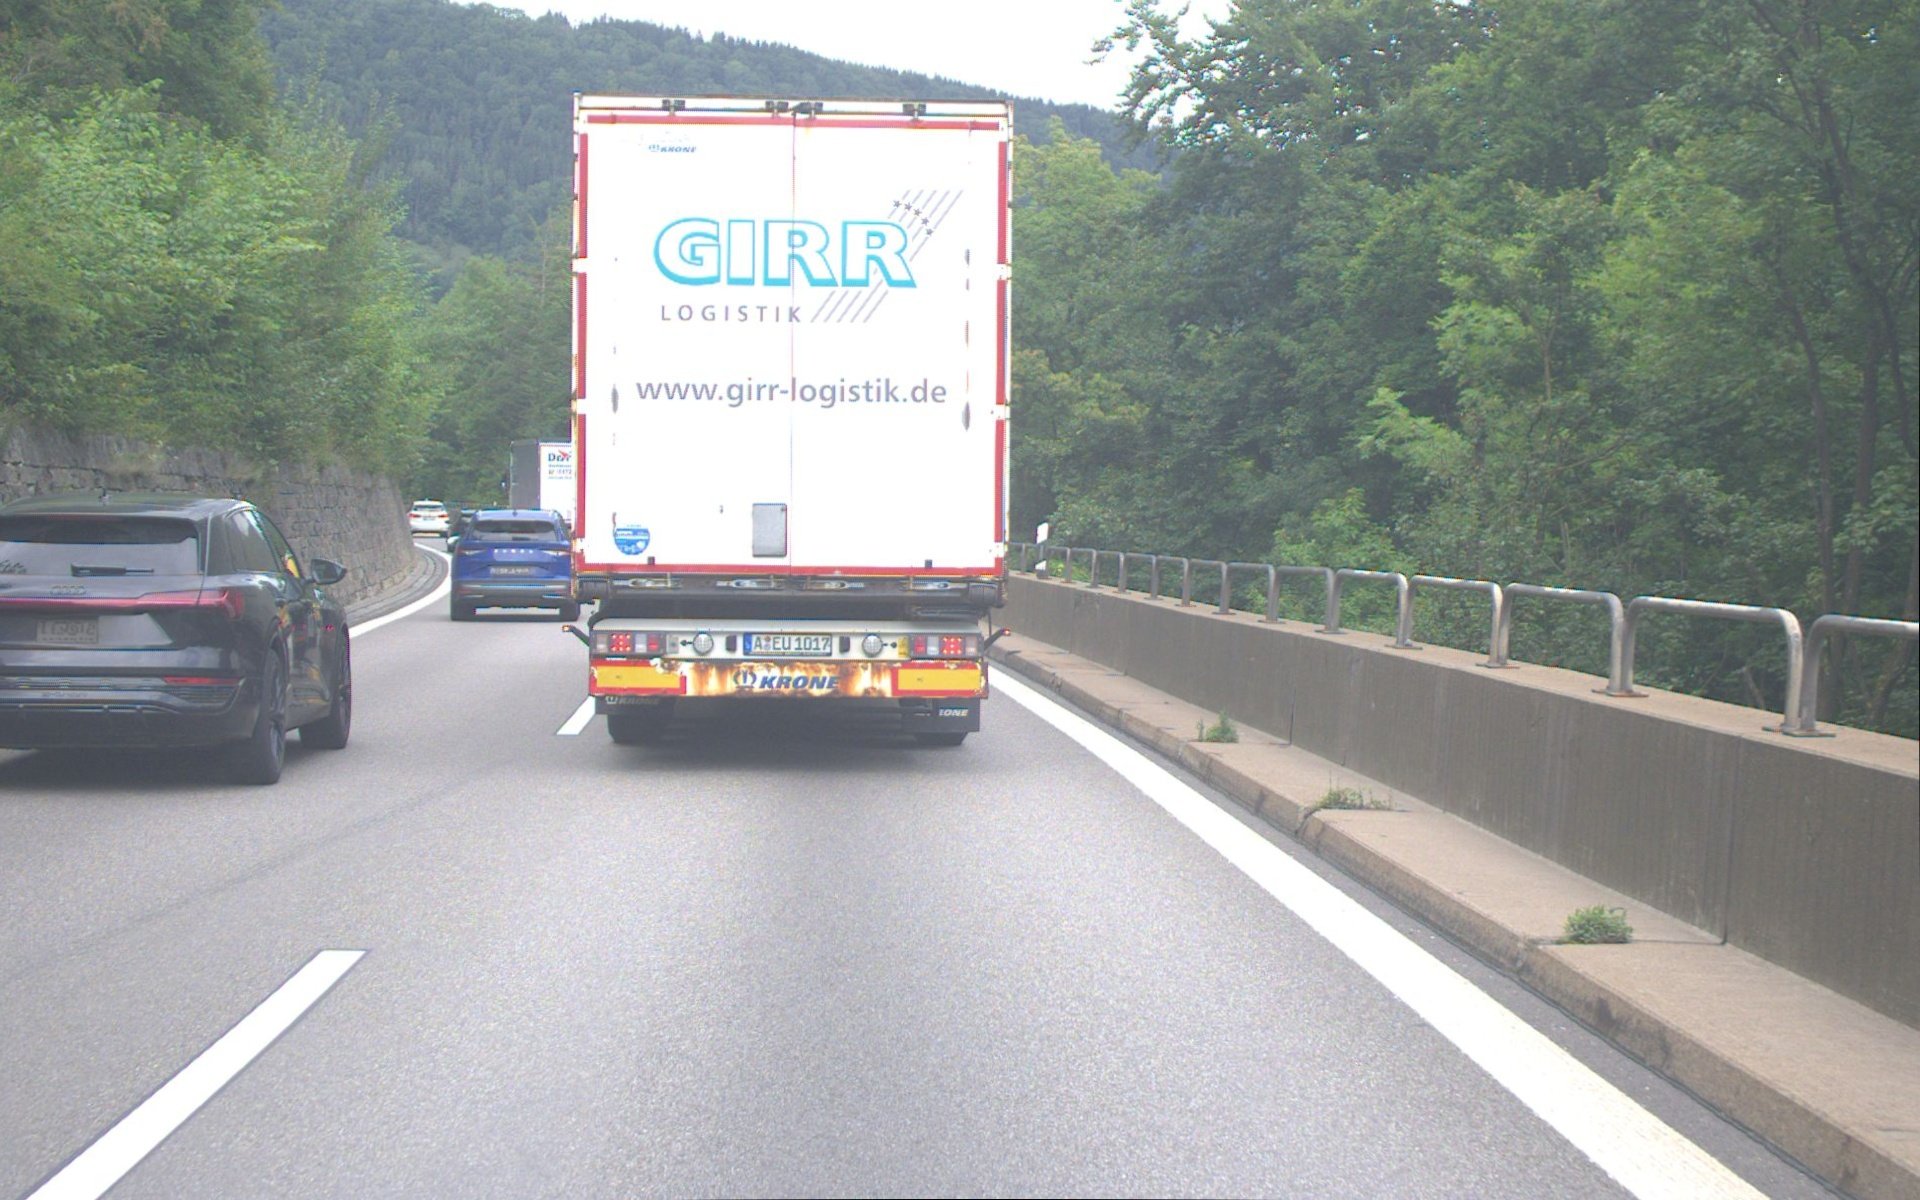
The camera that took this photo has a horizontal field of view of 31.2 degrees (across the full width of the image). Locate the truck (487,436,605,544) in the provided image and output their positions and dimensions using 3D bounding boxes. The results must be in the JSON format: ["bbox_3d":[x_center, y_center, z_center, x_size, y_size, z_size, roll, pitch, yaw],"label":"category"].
[{"bbox_3d":[-15.644,-4.074,129.045,2.633,3.844,12.363,0,1,-15],"label":"truck"}]

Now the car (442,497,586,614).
[{"bbox_3d":[-6.554,-0.691,50.880,1.993,1.626,5.010,0,1,-6],"label":"car"}]

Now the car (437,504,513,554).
[{"bbox_3d":[-16.552,-2.432,117.127,1.993,1.590,4.355,-1,2,-15],"label":"car"}]

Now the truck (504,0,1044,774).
[{"bbox_3d":[-1.493,-1.399,27.305,3.084,4.448,15.158,0,1,-3],"label":"truck"}]

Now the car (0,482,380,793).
[{"bbox_3d":[-4.770,0.141,20.514,1.993,1.626,5.009,0,1,-3],"label":"car"}]

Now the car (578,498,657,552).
[{"bbox_3d":[-10.683,-2.331,107.056,2.060,1.648,4.001,0,1,-11],"label":"car"}]

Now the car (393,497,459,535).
[{"bbox_3d":[-23.283,-3.673,149.770,1.896,1.545,4.251,1,2,-22],"label":"car"}]
